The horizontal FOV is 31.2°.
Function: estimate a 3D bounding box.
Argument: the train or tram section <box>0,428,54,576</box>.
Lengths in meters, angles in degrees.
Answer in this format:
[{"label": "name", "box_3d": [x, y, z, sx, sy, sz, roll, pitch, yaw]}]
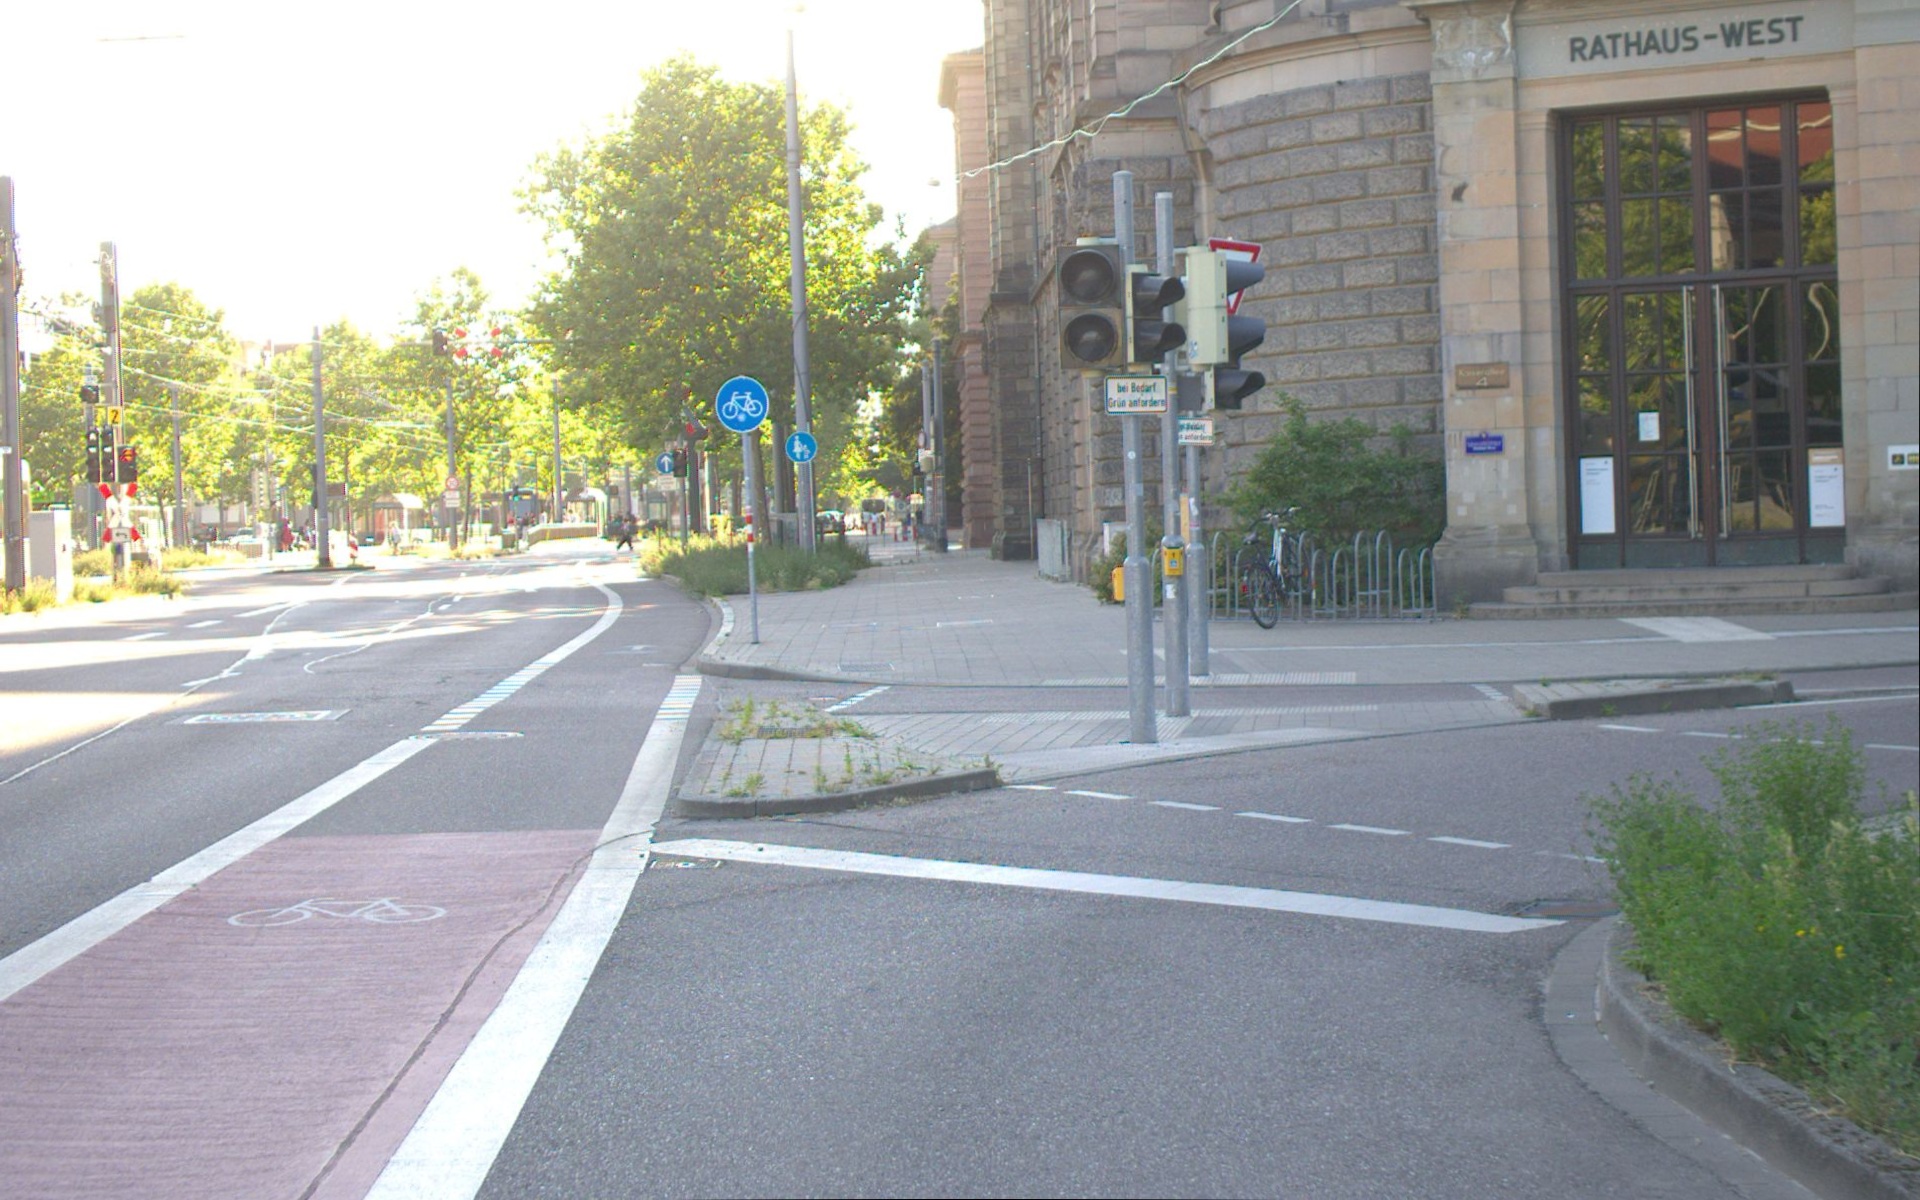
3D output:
[{"label": "train or tram section", "box_3d": [-24.343, -2.240, 79.248, 3.111, 3.547, 19.937, -2, 1, -5]}]

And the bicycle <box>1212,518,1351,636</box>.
[{"label": "bicycle", "box_3d": [3.473, -0.263, 36.937, 0.867, 1.192, 2.237, -2, 1, 22]}]
